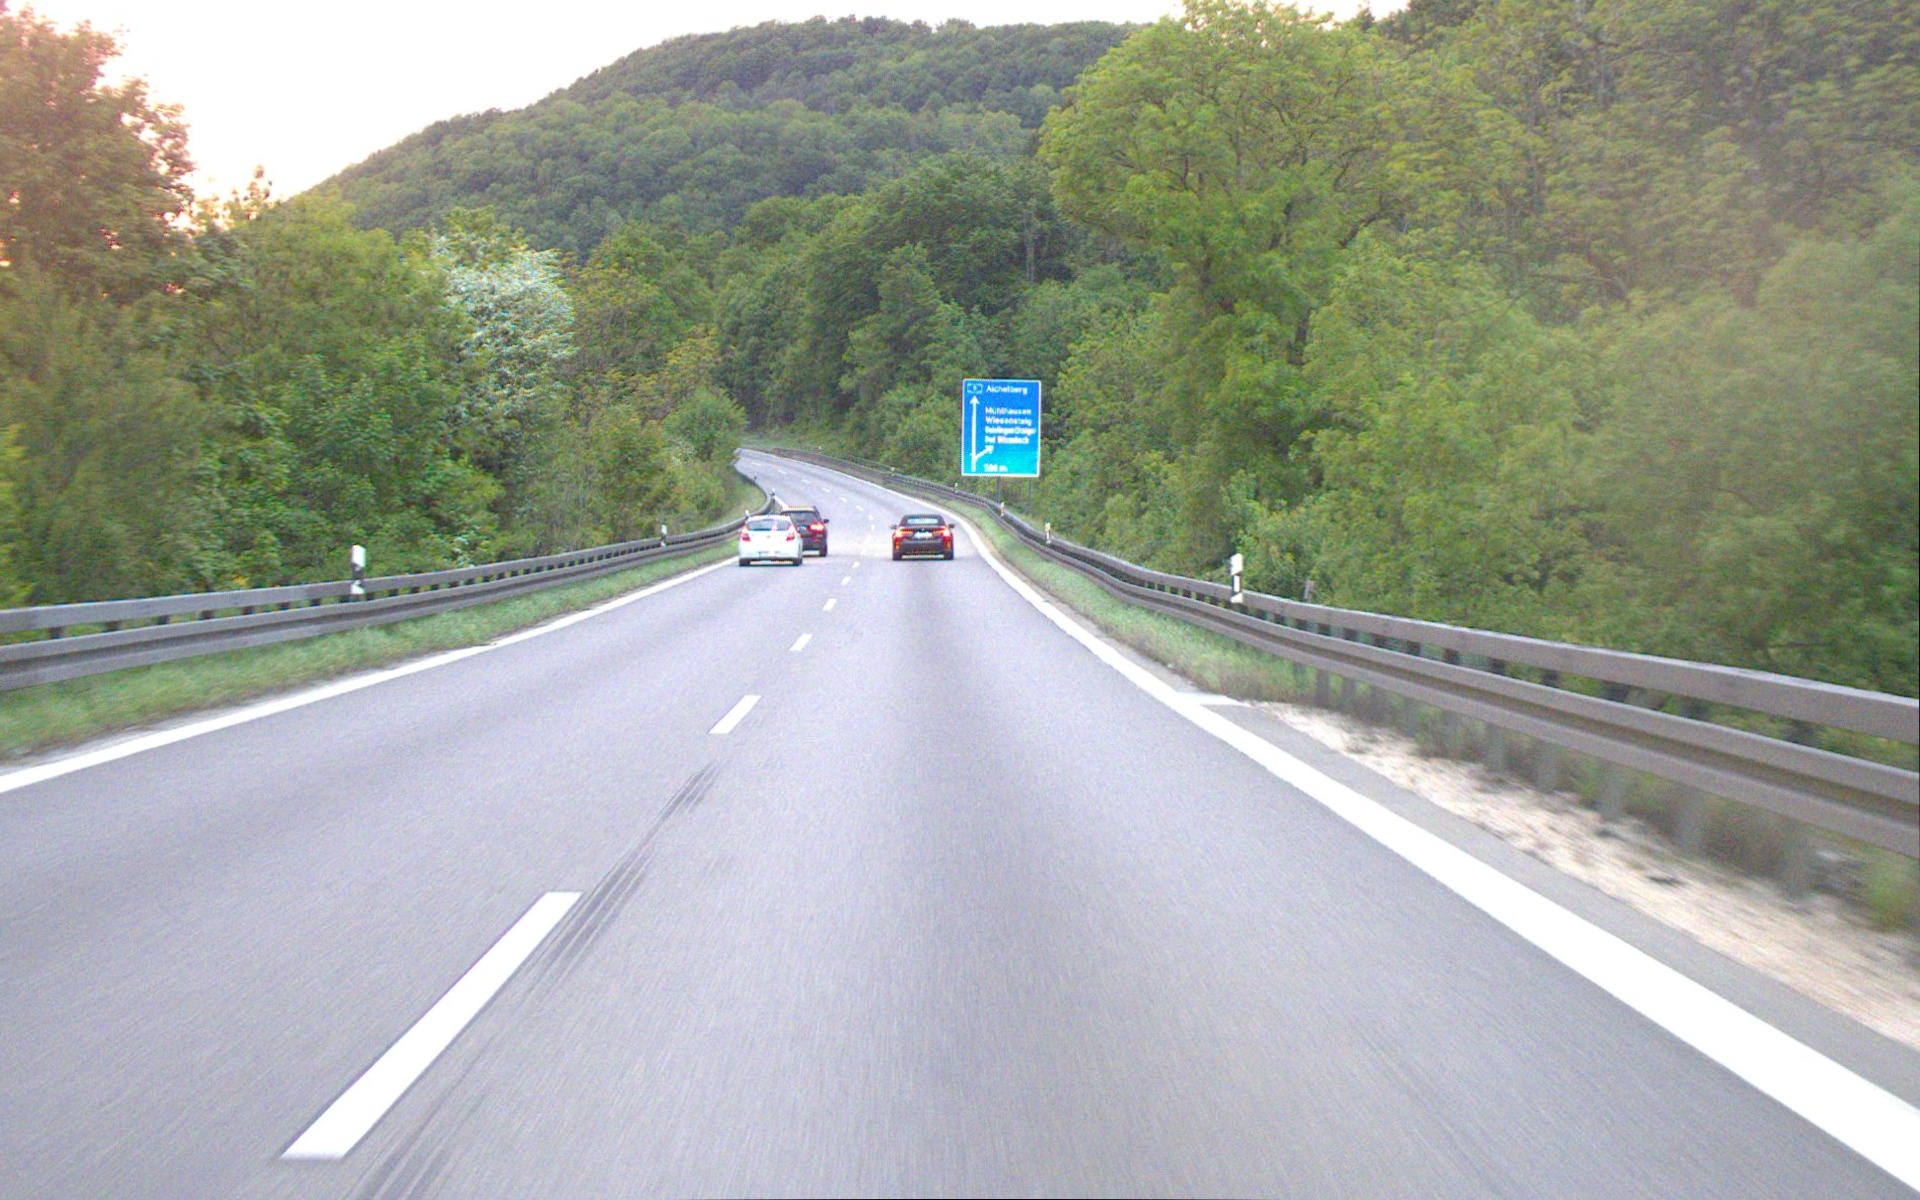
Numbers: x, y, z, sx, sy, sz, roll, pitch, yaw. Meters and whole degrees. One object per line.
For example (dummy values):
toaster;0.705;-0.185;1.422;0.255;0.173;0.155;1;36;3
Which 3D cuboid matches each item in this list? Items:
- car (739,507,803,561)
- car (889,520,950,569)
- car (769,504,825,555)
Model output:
car;-5.492;-1.947;100.181;1.718;1.496;4.001;0;2;-1
car;-1.279;-1.740;107.267;1.878;1.461;4.001;0;2;-1
car;-5.354;-2.352;113.503;1.718;1.629;4.001;0;2;-1
